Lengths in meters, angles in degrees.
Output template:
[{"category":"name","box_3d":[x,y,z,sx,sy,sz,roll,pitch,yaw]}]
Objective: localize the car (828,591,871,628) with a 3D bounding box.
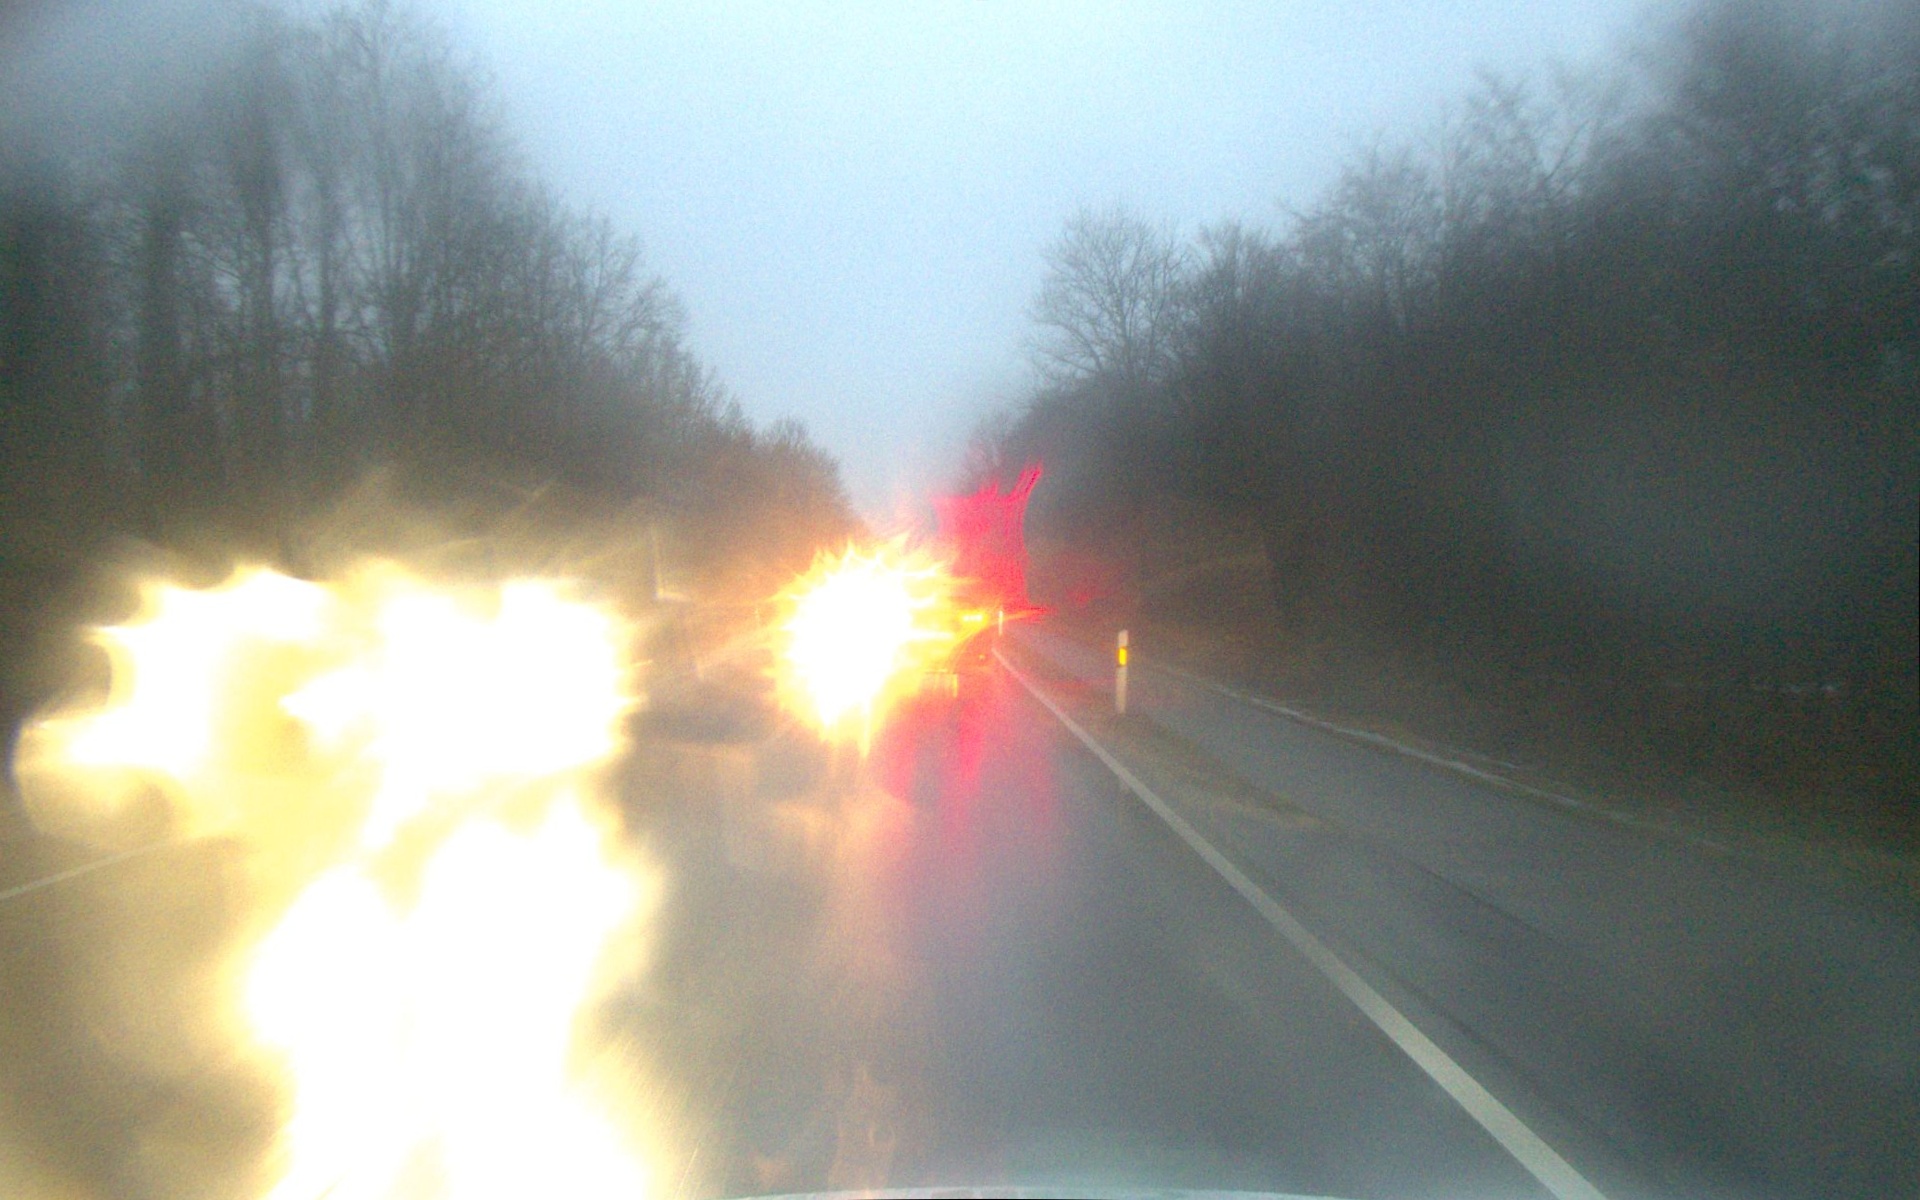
[{"category":"car","box_3d":[-4.456,0.348,66.985,1.586,1.413,4.070,-1,1,-2]}]

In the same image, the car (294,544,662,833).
[{"category":"car","box_3d":[-3.564,0.584,13.060,1.671,1.854,4.284,-2,0,-1]}]
